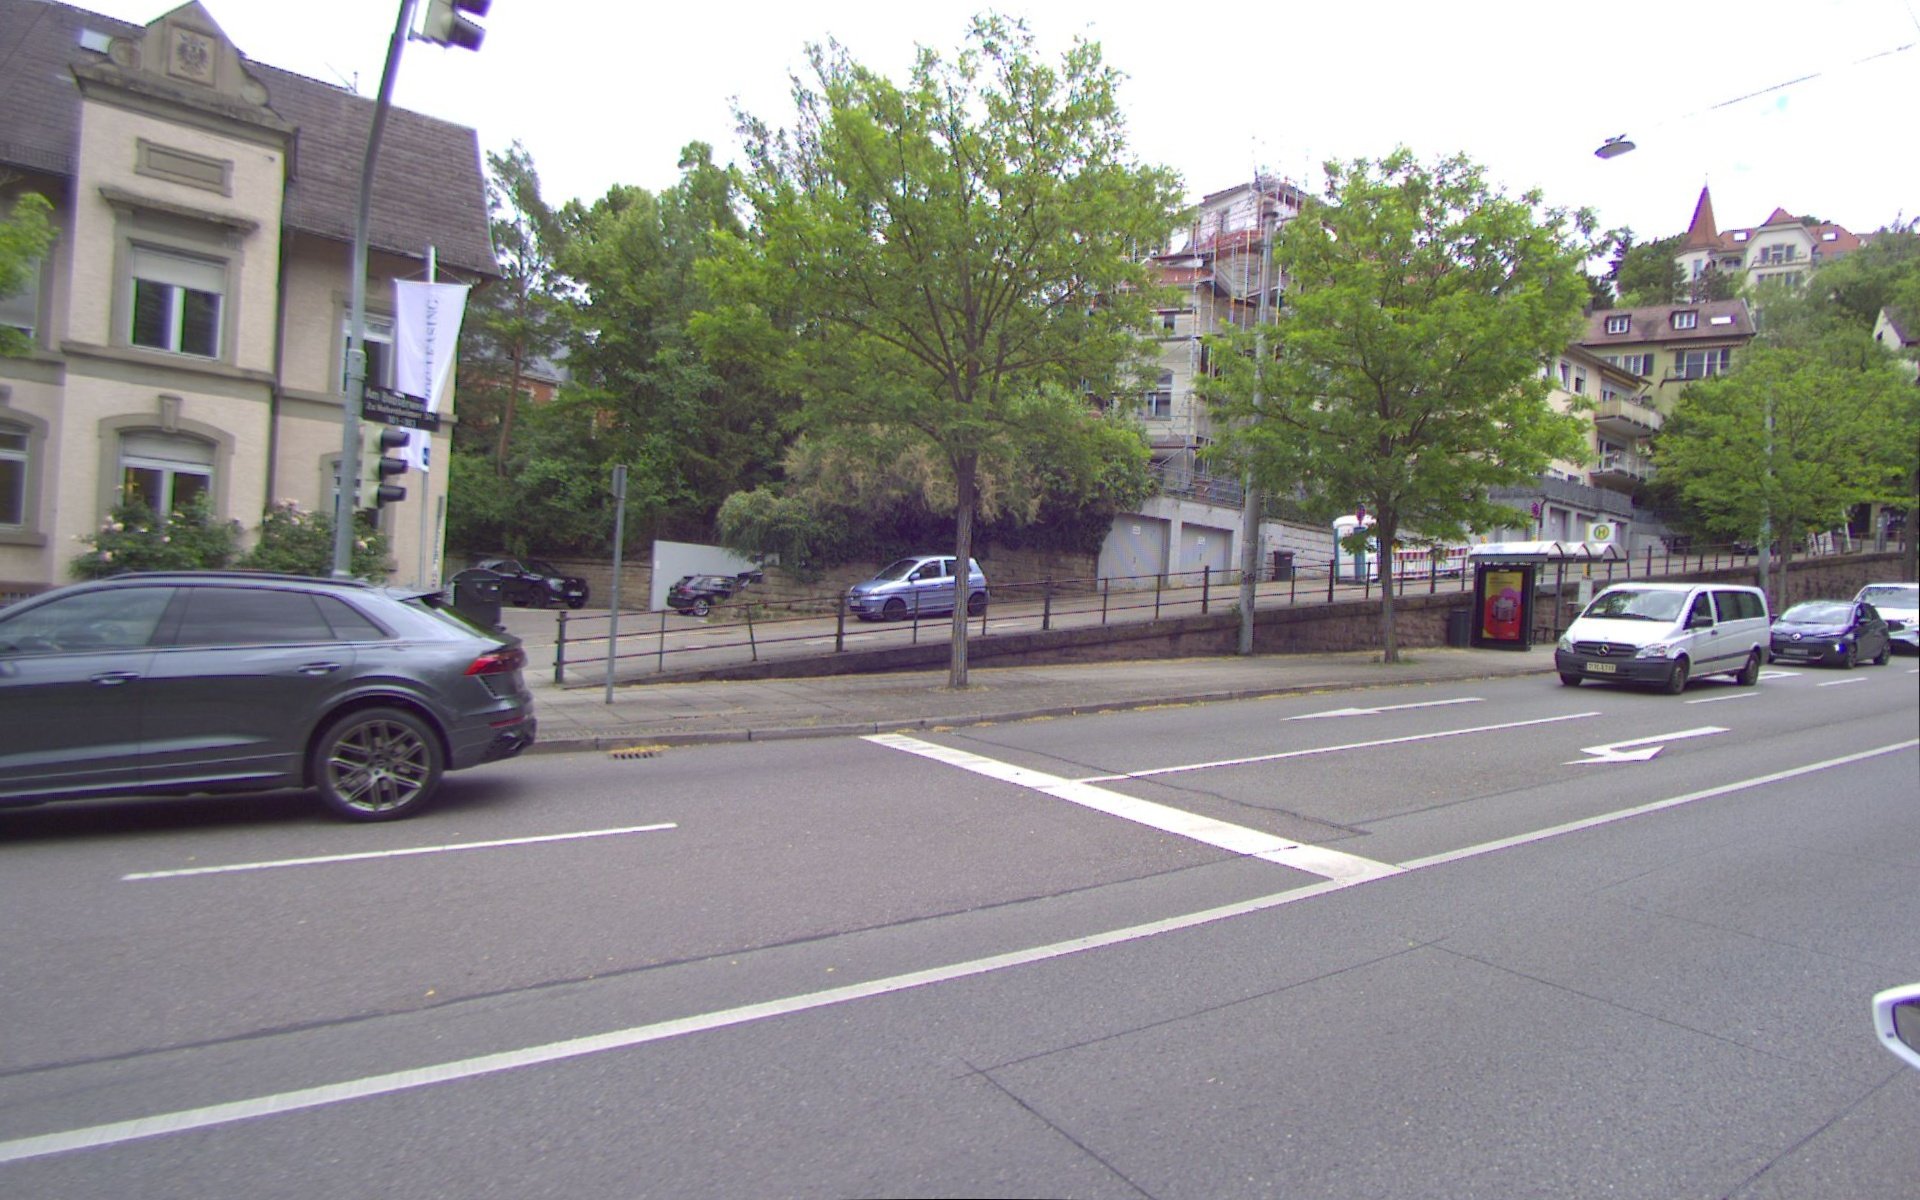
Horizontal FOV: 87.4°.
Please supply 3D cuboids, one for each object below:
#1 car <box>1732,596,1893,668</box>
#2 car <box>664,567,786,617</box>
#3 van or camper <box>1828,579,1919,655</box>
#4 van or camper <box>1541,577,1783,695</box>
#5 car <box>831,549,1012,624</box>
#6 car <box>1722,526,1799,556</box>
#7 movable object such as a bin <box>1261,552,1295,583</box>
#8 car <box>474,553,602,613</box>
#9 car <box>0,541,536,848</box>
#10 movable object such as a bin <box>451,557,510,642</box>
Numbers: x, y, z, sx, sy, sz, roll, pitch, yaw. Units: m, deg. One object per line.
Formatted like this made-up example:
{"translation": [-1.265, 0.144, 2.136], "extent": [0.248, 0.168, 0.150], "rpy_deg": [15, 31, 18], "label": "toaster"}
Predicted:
{"translation": [20.804, 0.727, 24.478], "extent": [3.950, 1.541, 1.981], "rpy_deg": [1, 2, -34], "label": "car"}
{"translation": [-8.181, -0.241, 34.995], "extent": [3.775, 1.584, 1.825], "rpy_deg": [1, -2, -32], "label": "car"}
{"translation": [27.643, 0.466, 29.298], "extent": [5.500, 2.041, 1.982], "rpy_deg": [1, 1, -33], "label": "van or camper"}
{"translation": [13.225, 0.594, 18.798], "extent": [5.402, 1.921, 1.980], "rpy_deg": [1, 1, -35], "label": "van or camper"}
{"translation": [-0.920, -0.396, 24.542], "extent": [3.952, 1.595, 1.983], "rpy_deg": [-3, 5, -30], "label": "car"}
{"translation": [40.431, -2.954, 50.748], "extent": [3.548, 1.296, 1.548], "rpy_deg": [1, -1, -23], "label": "car"}
{"translation": [11.195, -1.145, 35.355], "extent": [0.831, 1.056, 0.799], "rpy_deg": [1, 0, -39], "label": "movable object such as a bin"}
{"translation": [-14.628, -0.547, 34.812], "extent": [3.926, 1.862, 1.998], "rpy_deg": [-1, -3, 27], "label": "car"}
{"translation": [-5.546, 0.595, 7.050], "extent": [4.693, 1.815, 1.891], "rpy_deg": [1, -2, -25], "label": "car"}
{"translation": [-10.292, -0.028, 21.605], "extent": [0.981, 1.707, 1.214], "rpy_deg": [1, 4, -19], "label": "movable object such as a bin"}
